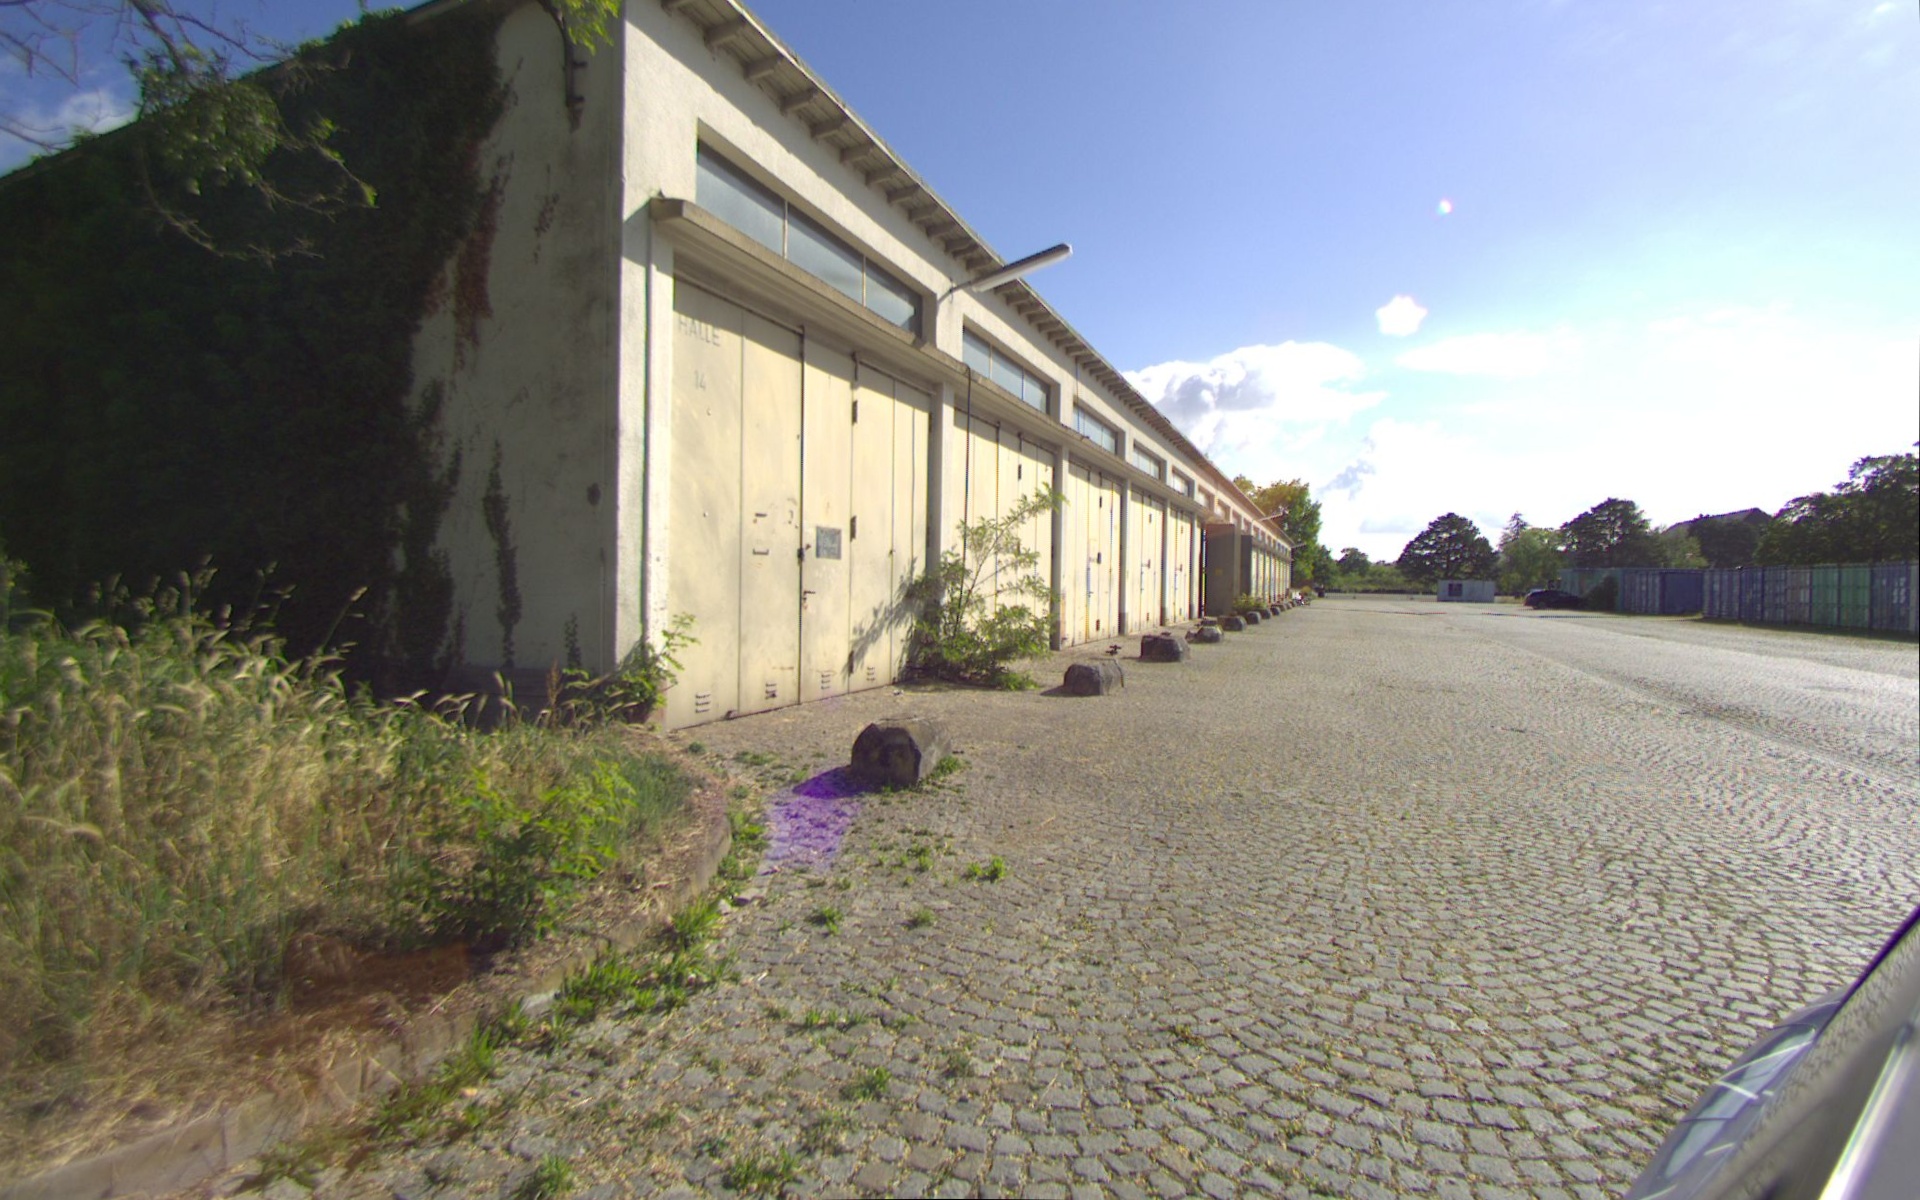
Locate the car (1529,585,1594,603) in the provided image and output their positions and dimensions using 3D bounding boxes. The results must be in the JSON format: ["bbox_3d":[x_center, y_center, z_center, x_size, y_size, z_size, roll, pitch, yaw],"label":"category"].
[{"bbox_3d":[44.075,-0.426,74.198,3.828,1.282,1.580,1,1,20],"label":"car"}]
